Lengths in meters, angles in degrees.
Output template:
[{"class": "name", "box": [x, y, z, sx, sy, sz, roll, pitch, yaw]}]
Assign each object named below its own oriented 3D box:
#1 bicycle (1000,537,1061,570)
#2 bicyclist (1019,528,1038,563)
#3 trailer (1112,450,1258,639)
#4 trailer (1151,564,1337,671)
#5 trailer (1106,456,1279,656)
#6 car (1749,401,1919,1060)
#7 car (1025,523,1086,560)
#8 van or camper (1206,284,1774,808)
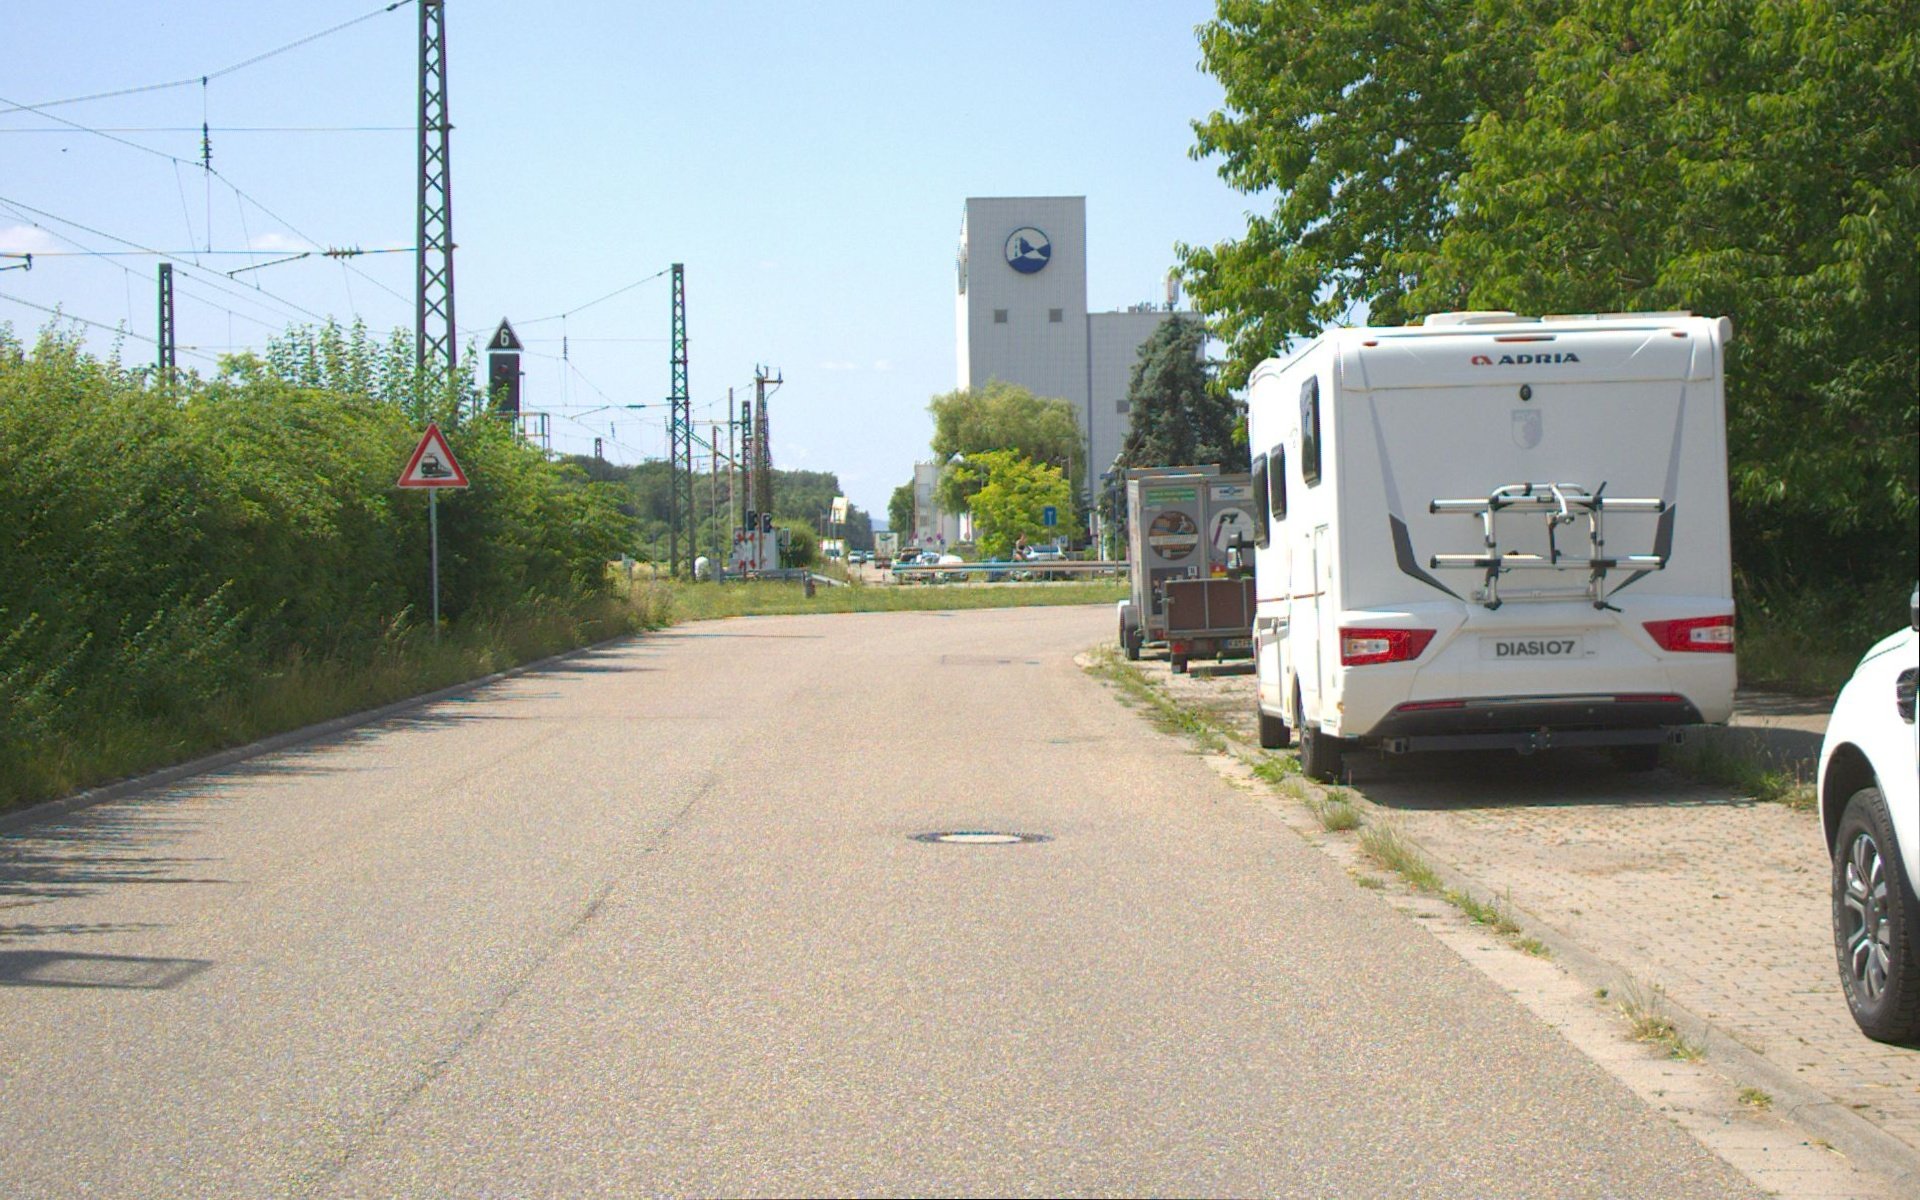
[{"class": "bicycle", "box": [2.522, -1.662, 123.116, 2.143, 1.161, 0.660, 0, 1, 31]}, {"class": "bicyclist", "box": [2.459, -1.958, 123.143, 0.511, 1.251, 0.468, 0, 1, 31]}, {"class": "trailer", "box": [3.467, -0.861, 52.209, 1.933, 2.635, 5.183, -3, 1, 5]}, {"class": "trailer", "box": [3.377, 0.179, 41.676, 2.005, 1.119, 4.488, -3, 0, 2]}, {"class": "trailer", "box": [3.124, -0.620, 47.120, 1.919, 2.499, 4.741, -3, 1, 0]}, {"class": "car", "box": [3.557, 0.353, 8.500, 1.847, 1.808, 5.425, -2, 1, -1]}, {"class": "car", "box": [4.004, -2.475, 145.045, 1.993, 1.504, 4.455, -1, 1, -6]}, {"class": "van or camper", "box": [3.214, -0.366, 22.869, 2.439, 2.817, 7.624, -2, 1, 0]}]
